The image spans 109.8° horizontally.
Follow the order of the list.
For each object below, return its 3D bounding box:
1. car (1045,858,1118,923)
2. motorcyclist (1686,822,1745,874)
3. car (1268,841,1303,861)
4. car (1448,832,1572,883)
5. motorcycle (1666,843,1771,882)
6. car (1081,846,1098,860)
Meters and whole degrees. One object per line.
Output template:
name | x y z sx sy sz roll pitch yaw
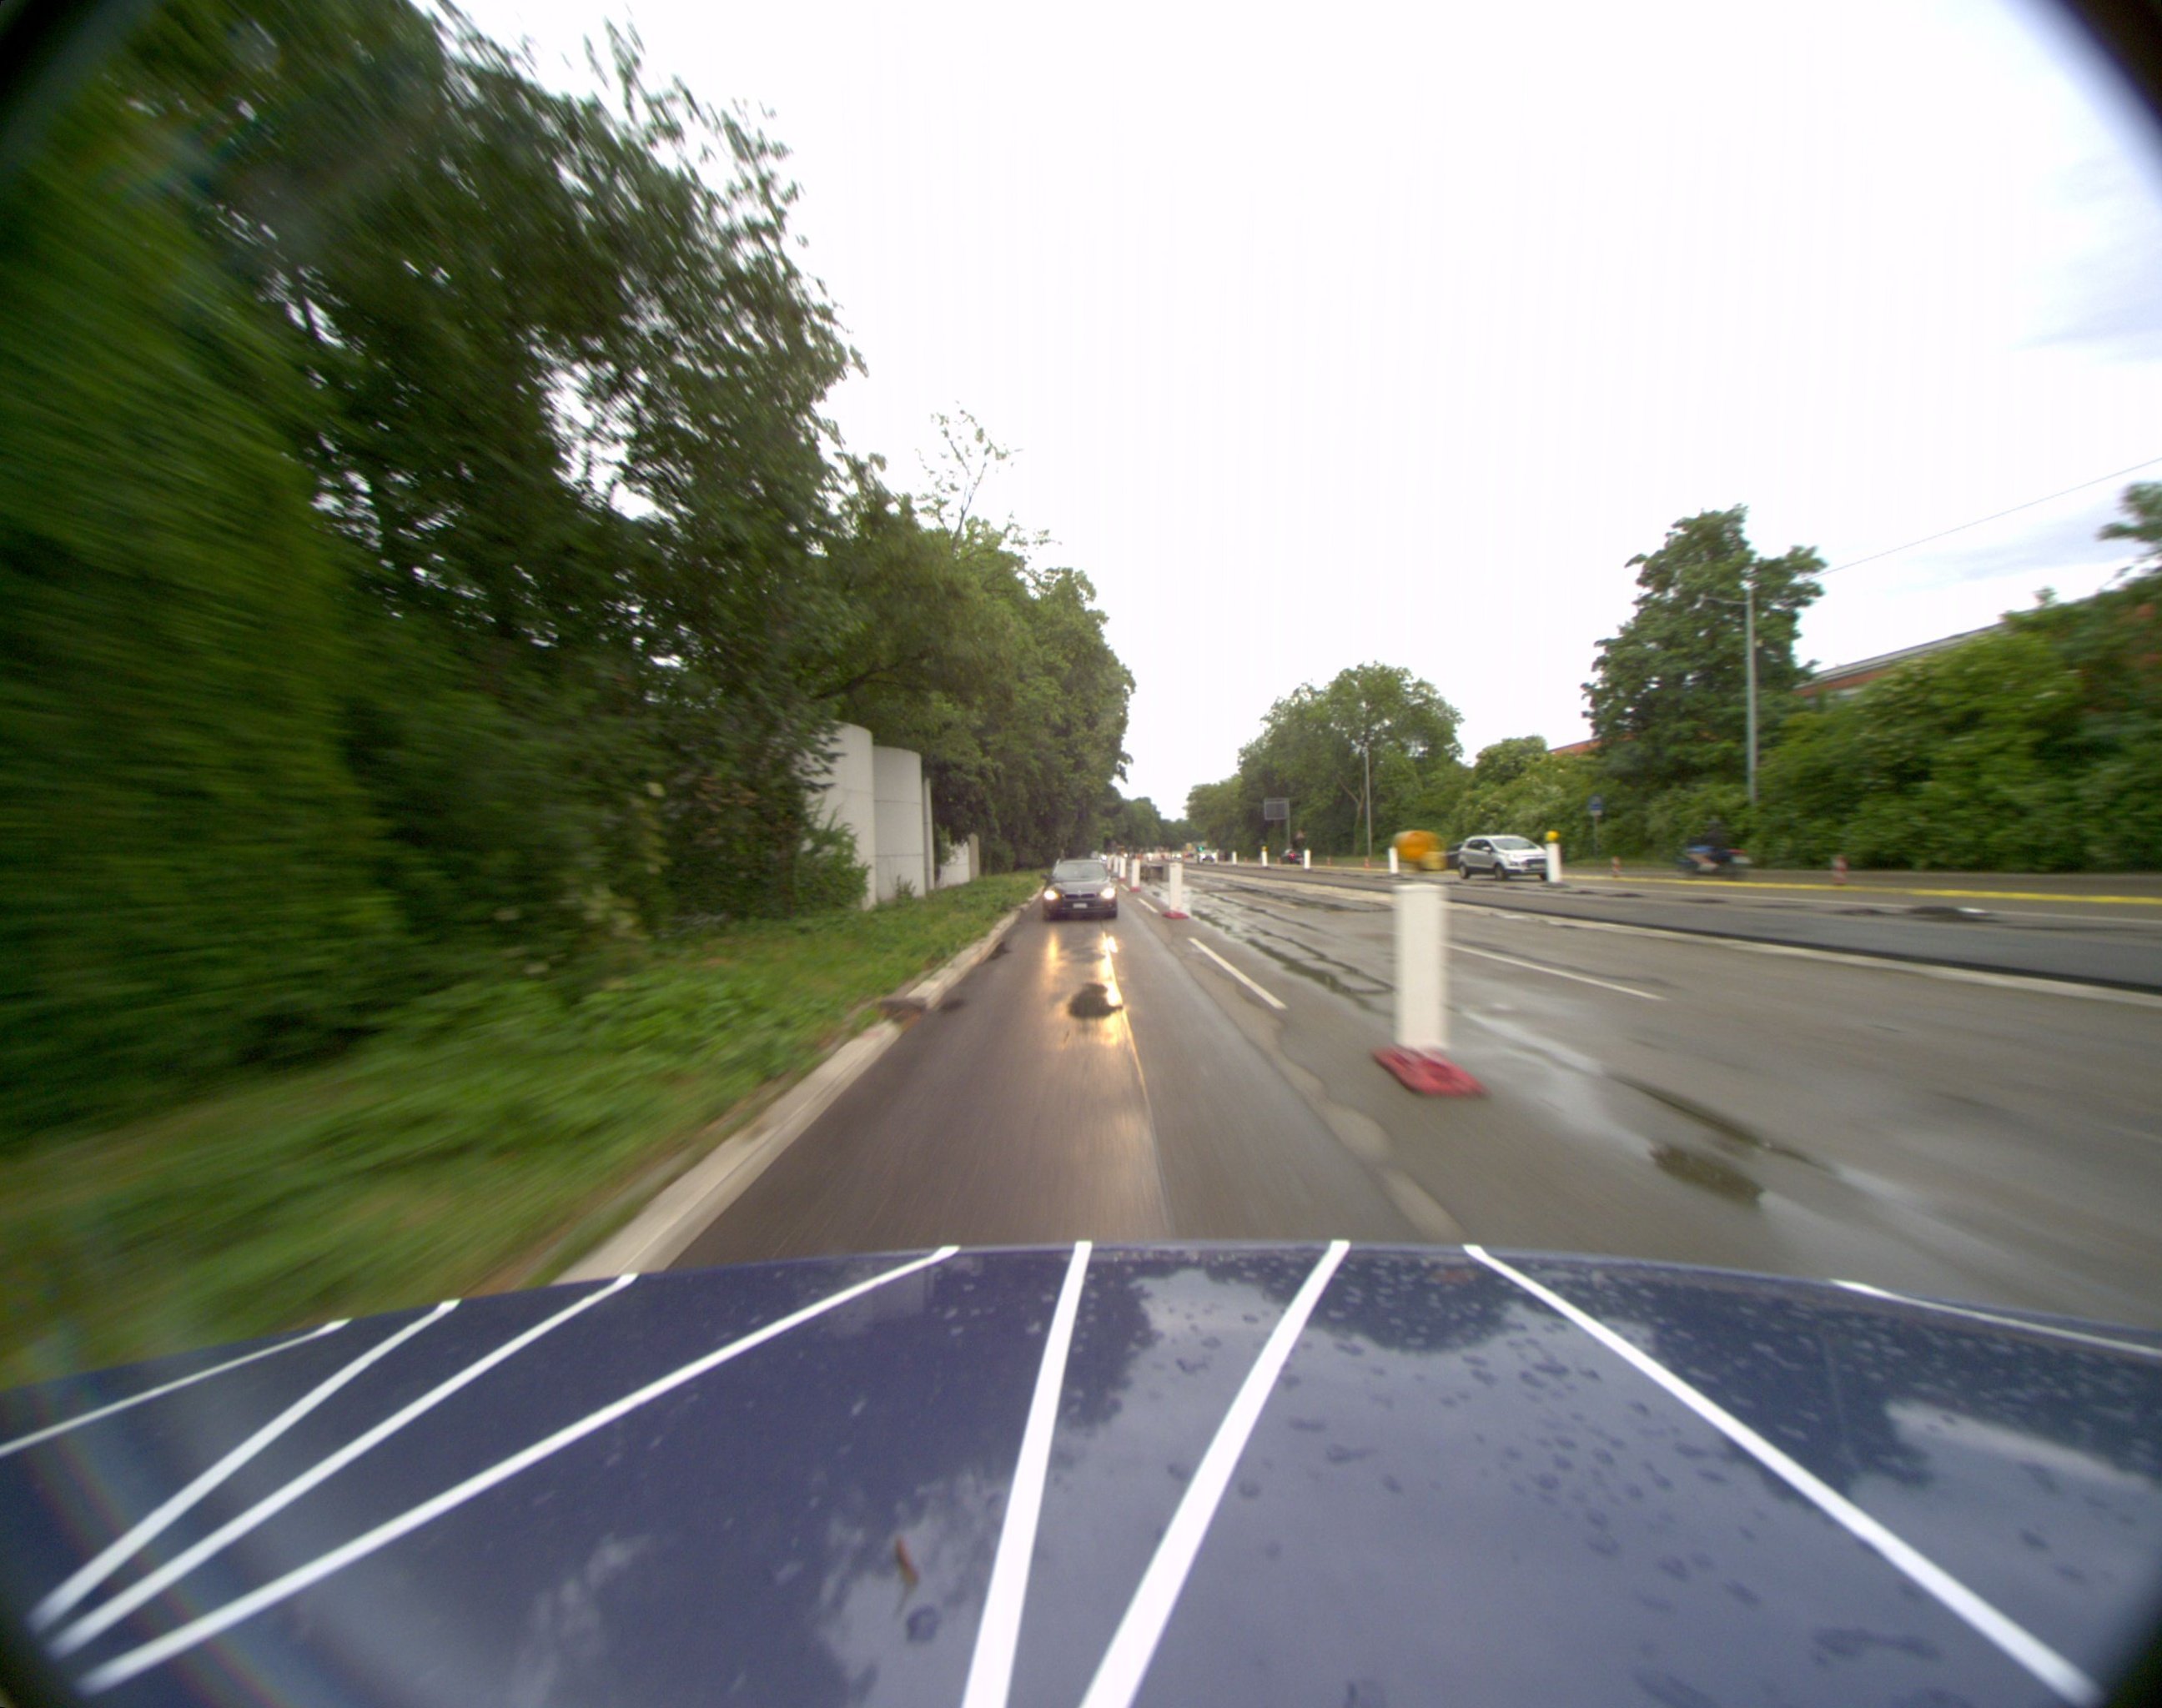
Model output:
car | 0.043 0.847 19.424 1.658 1.409 4.129 -1 0 1
motorcyclist | 18.077 -0.164 21.665 0.816 1.402 0.975 -4 1 1
car | 18.358 -0.264 68.376 1.893 1.543 4.398 -4 0 1
car | 15.174 0.114 27.162 1.893 1.555 4.363 -4 0 0
motorcycle | 18.117 0.217 21.706 0.810 0.983 2.593 -4 0 1
car | 1.141 -0.142 99.502 1.998 1.707 4.000 -2 1 3
